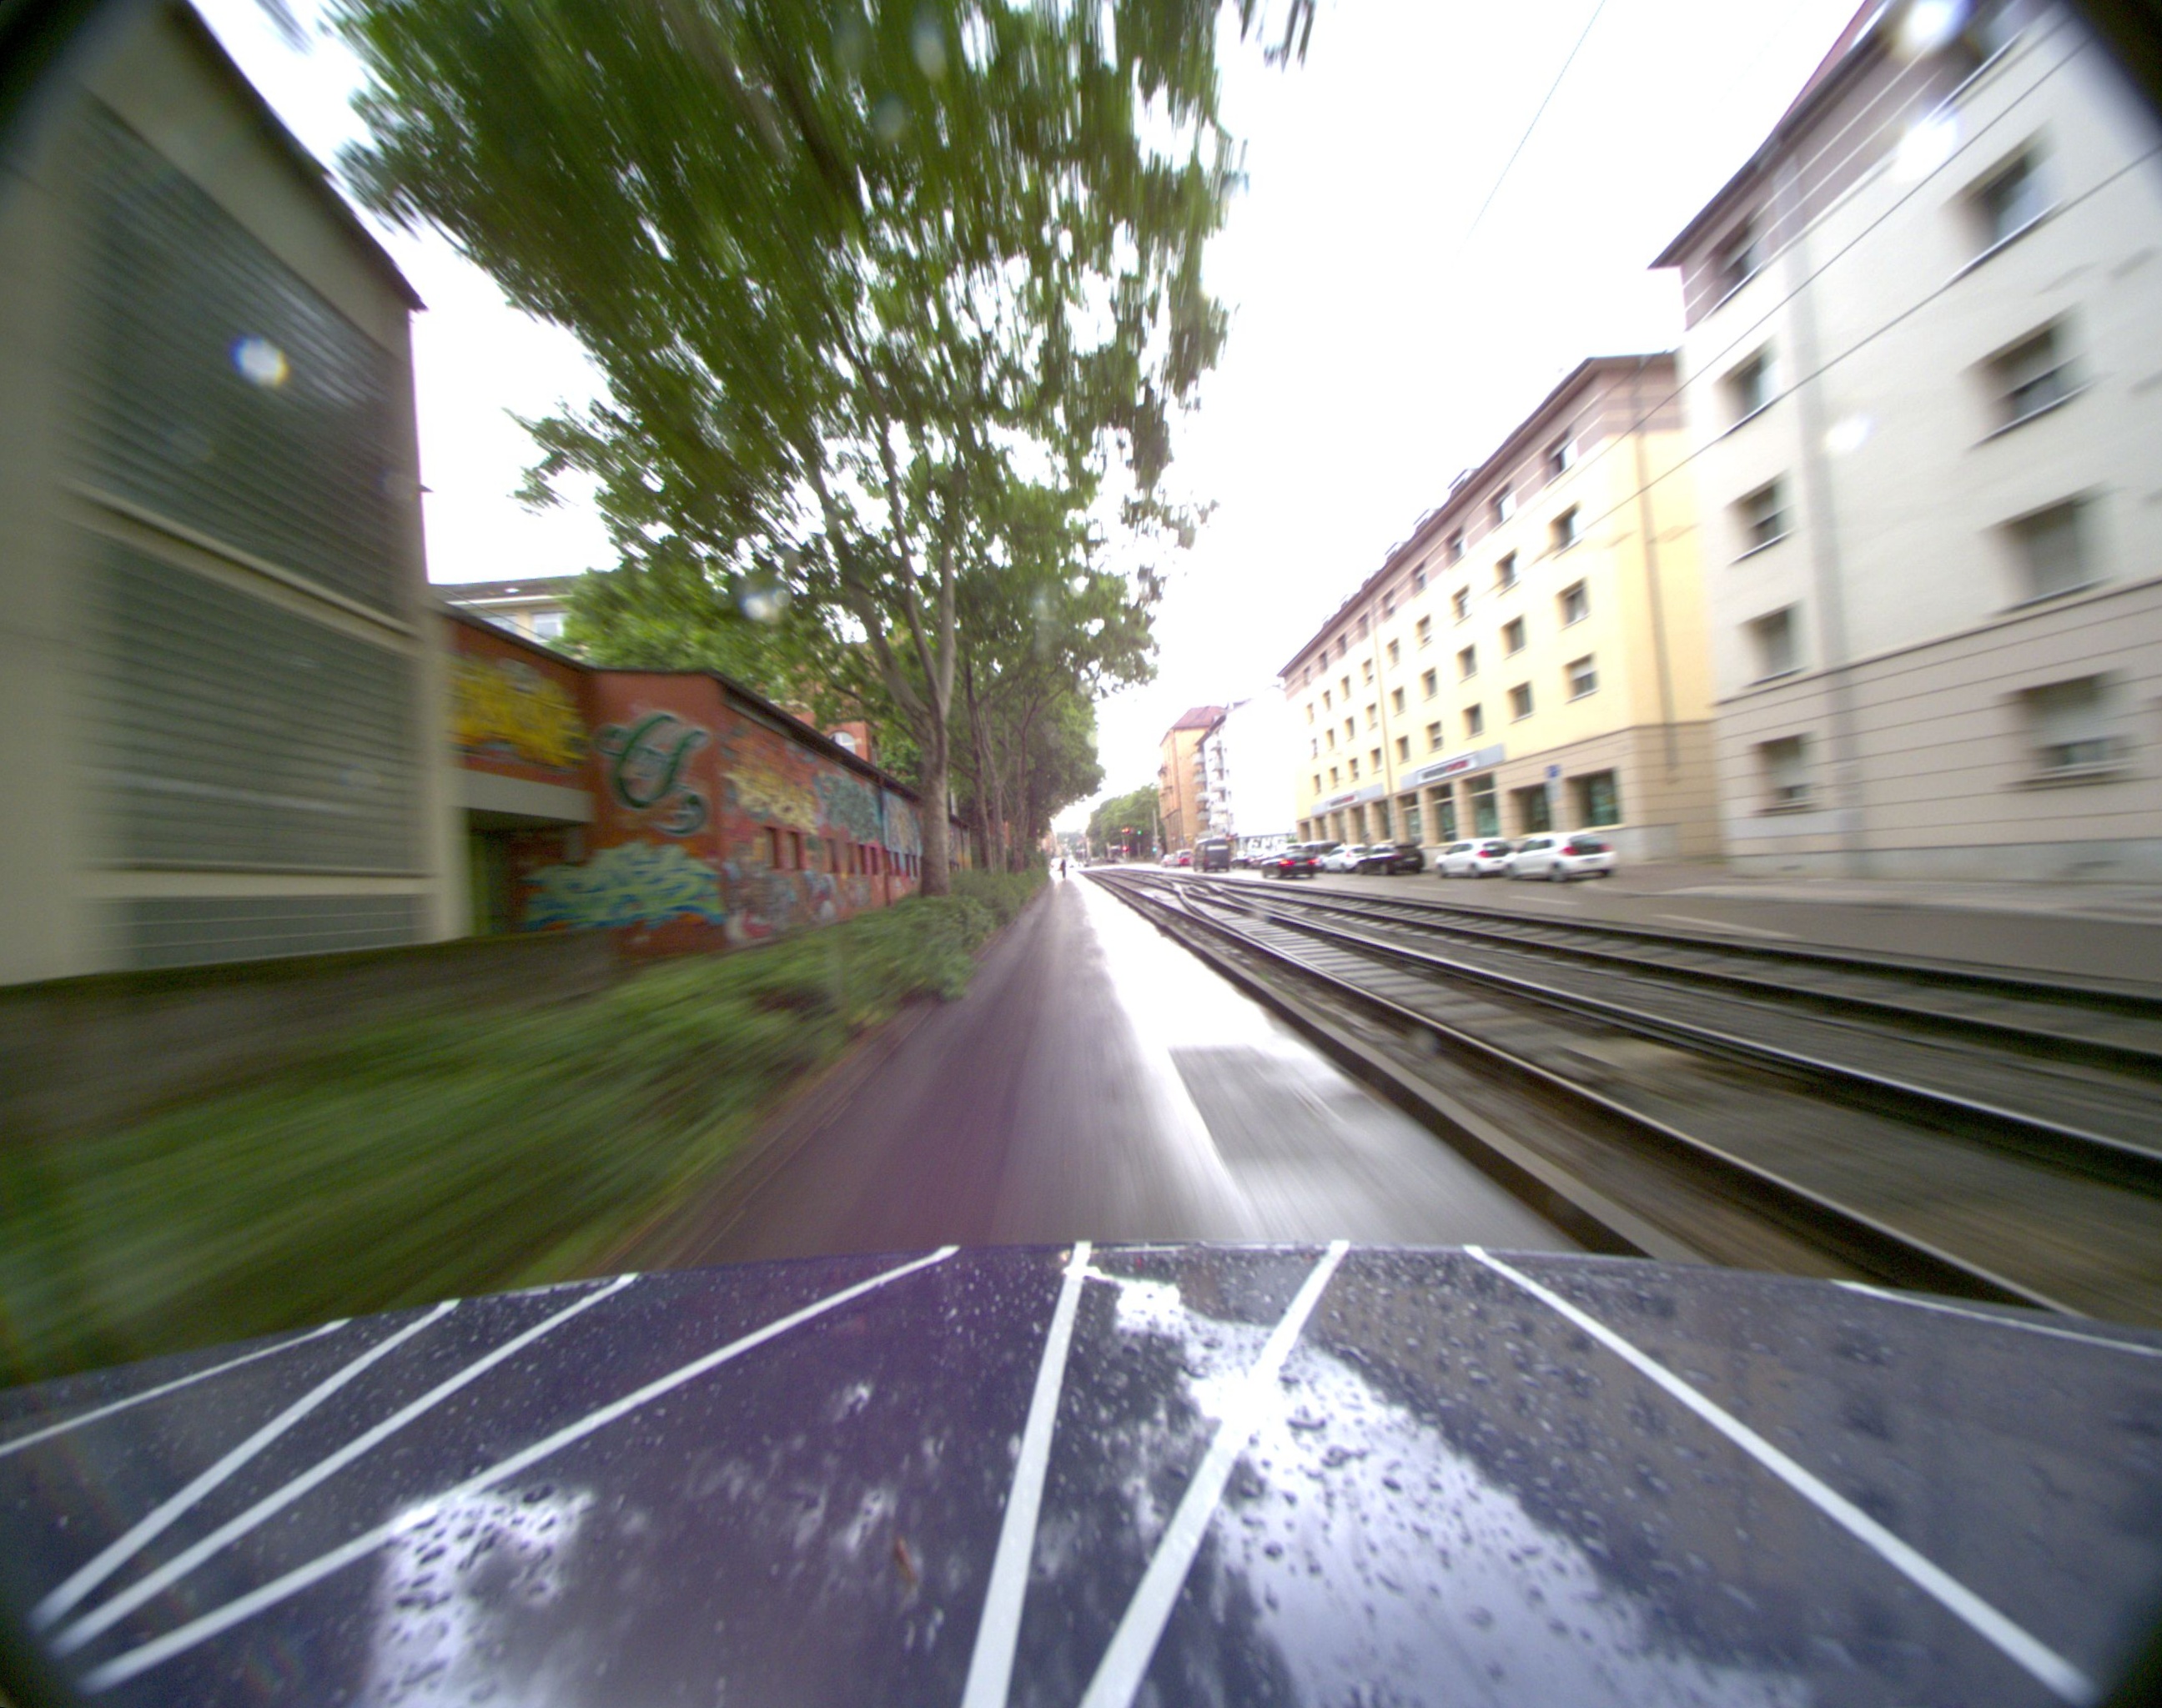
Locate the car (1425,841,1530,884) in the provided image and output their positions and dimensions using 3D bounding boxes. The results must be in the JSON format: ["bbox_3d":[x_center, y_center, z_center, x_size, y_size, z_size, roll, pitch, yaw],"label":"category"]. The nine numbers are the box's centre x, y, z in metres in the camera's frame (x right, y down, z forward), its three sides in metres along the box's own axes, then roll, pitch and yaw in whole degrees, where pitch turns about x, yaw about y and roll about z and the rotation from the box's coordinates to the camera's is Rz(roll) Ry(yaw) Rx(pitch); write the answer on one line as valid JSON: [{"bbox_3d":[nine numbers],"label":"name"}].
[{"bbox_3d":[15.077,0.320,29.115,1.708,1.388,3.935,-5,0,-3],"label":"car"}]

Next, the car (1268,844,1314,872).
[{"bbox_3d":[14.563,0.268,52.892,1.872,1.707,4.460,-4,0,0],"label":"car"}]

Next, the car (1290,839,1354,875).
[{"bbox_3d":[14.668,0.193,46.578,1.999,1.894,5.459,-6,0,0],"label":"car"}]

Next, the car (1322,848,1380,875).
[{"bbox_3d":[14.666,0.390,41.462,1.695,1.431,4.049,0,0,0],"label":"car"}]

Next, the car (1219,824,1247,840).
[{"bbox_3d":[15.335,-2.196,76.871,1.684,1.388,4.621,-4,0,-2],"label":"car"}]

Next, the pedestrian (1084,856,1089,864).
[{"bbox_3d":[1.016,1.148,152.688,0.837,1.595,1.001,-4,1,-3],"label":"pedestrian"}]

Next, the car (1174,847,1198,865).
[{"bbox_3d":[13.409,0.250,97.526,2.075,1.997,5.301,-7,0,-1],"label":"car"}]

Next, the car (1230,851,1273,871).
[{"bbox_3d":[14.215,0.568,63.662,1.857,1.499,4.989,-4,0,-6],"label":"car"}]

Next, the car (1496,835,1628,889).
[{"bbox_3d":[15.216,0.230,24.272,1.713,1.441,3.540,-6,0,-3],"label":"car"}]

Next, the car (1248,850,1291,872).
[{"bbox_3d":[14.386,0.500,58.221,1.856,1.424,4.831,-5,0,-1],"label":"car"}]

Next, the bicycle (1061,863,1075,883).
[{"bbox_3d":[-1.081,1.515,62.641,0.936,1.545,3.135,-2,0,1],"label":"bicycle"}]

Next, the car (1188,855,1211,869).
[{"bbox_3d":[13.501,0.852,86.690,1.658,1.443,4.073,-4,0,-2],"label":"car"}]

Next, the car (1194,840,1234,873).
[{"bbox_3d":[10.624,0.142,61.178,1.999,2.437,5.997,-4,1,-1],"label":"car"}]

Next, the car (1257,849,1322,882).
[{"bbox_3d":[10.630,0.600,39.061,1.885,1.477,4.854,-4,-1,-1],"label":"car"}]

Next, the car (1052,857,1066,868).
[{"bbox_3d":[-3.263,1.240,110.771,1.884,1.438,3.999,-5,0,-2],"label":"car"}]

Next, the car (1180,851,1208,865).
[{"bbox_3d":[13.838,0.460,92.785,1.781,1.425,3.989,-4,0,33],"label":"car"}]

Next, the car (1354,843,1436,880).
[{"bbox_3d":[14.758,0.350,36.013,1.818,1.490,4.582,-5,0,-1],"label":"car"}]

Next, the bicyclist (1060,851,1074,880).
[{"bbox_3d":[-1.152,0.932,62.554,0.921,2.250,1.287,-4,1,0],"label":"bicyclist"}]

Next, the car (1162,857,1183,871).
[{"bbox_3d":[10.419,1.076,86.806,1.716,1.454,4.280,-3,0,-1],"label":"car"}]
